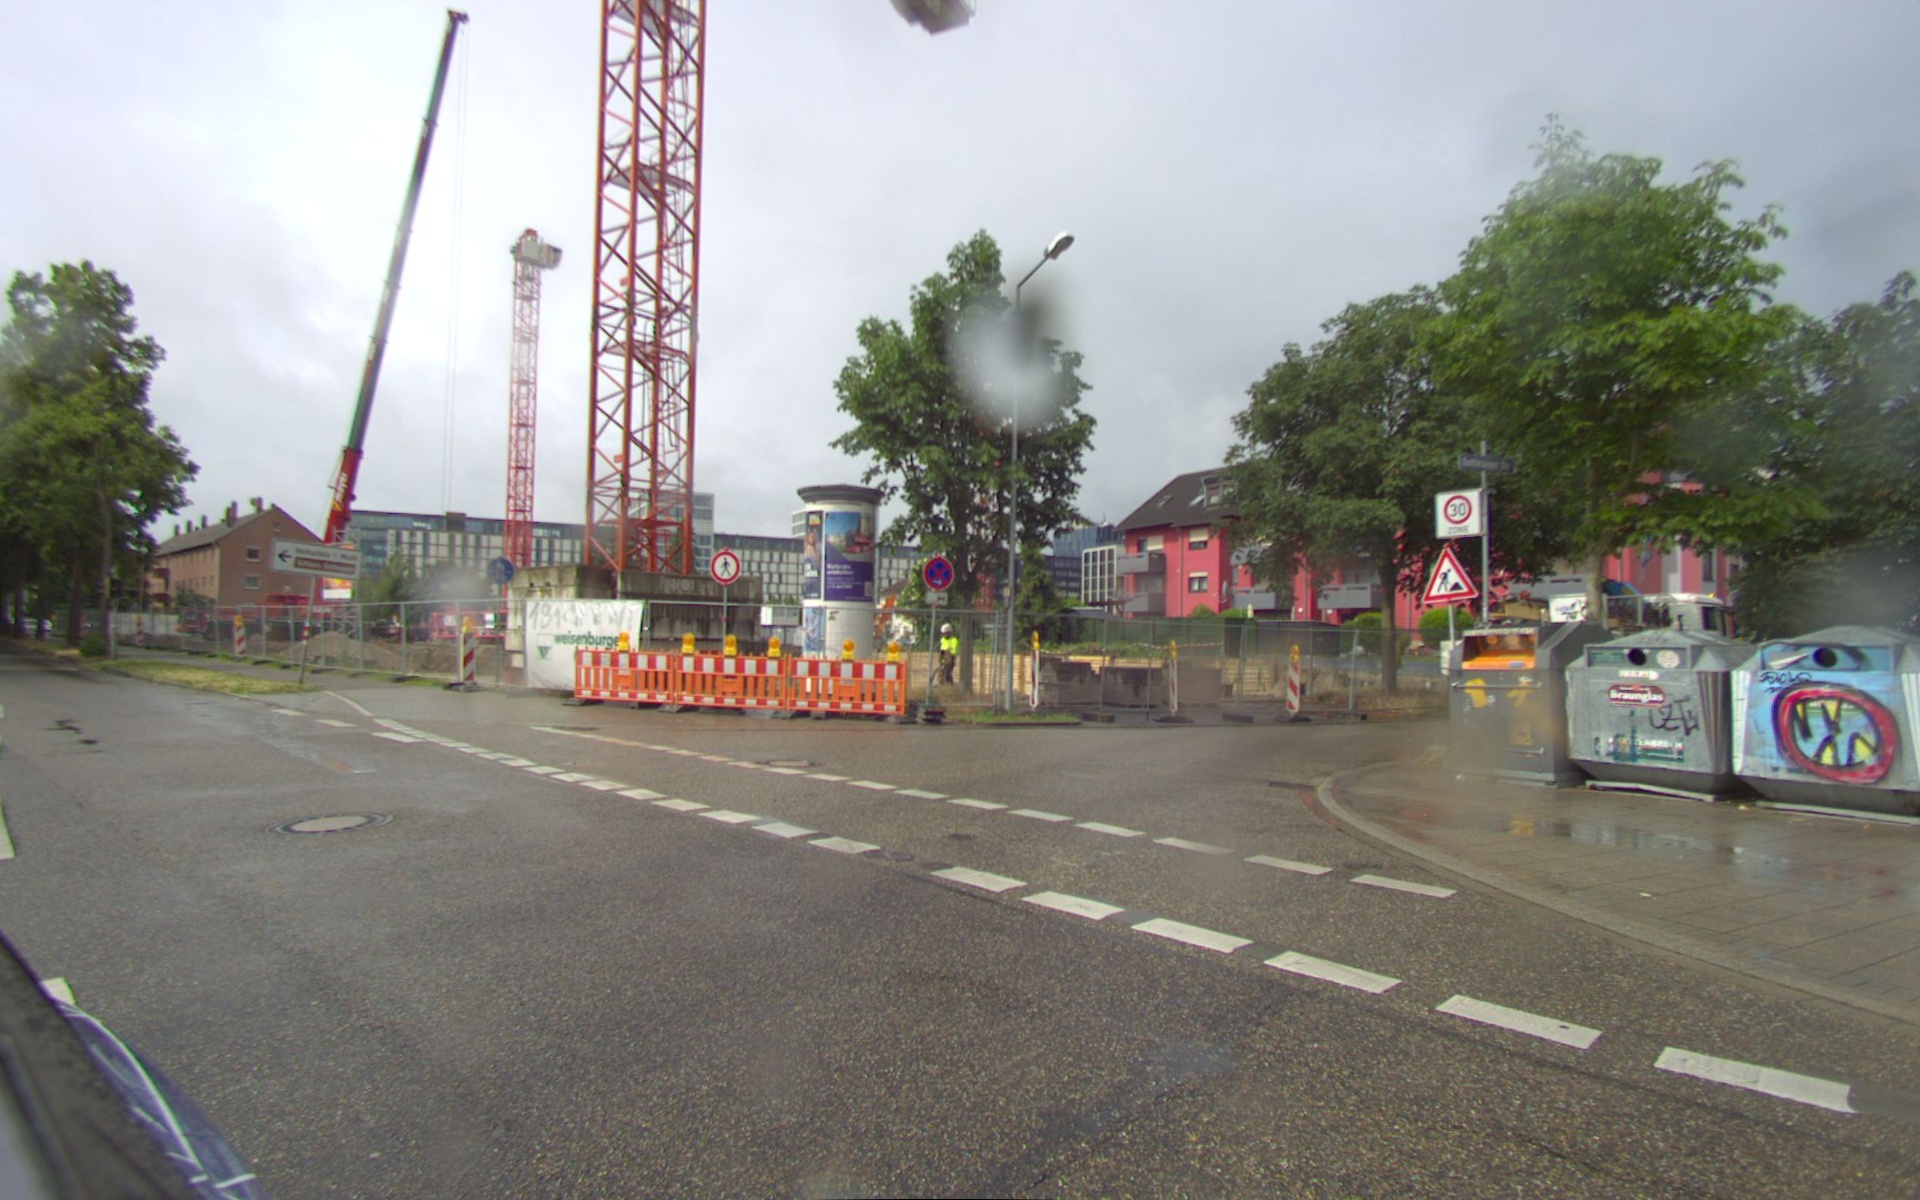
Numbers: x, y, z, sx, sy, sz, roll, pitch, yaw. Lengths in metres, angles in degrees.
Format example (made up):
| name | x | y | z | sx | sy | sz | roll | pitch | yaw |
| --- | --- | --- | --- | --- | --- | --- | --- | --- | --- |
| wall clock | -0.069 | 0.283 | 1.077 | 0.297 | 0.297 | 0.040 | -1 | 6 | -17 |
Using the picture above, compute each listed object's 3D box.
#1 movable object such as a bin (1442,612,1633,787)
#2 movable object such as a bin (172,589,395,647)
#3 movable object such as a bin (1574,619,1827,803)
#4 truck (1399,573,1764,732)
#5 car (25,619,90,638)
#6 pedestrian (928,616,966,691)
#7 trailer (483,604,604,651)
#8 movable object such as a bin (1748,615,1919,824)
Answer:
| name | x | y | z | sx | sy | sz | roll | pitch | yaw |
| --- | --- | --- | --- | --- | --- | --- | --- | --- | --- |
| movable object such as a bin | 6.596 | 1.108 | 11.601 | 1.516 | 1.838 | 1.267 | 3 | -4 | -28 |
| movable object such as a bin | -57.871 | 1.511 | 87.286 | 15.720 | 4.593 | 3.104 | 1 | -1 | -44 |
| movable object such as a bin | 7.479 | 1.075 | 10.286 | 1.516 | 1.669 | 1.532 | 3 | -4 | -28 |
| truck | 15.315 | 1.339 | 24.630 | 9.679 | 3.208 | 3.802 | 3 | -3 | -33 |
| car | -76.983 | 2.418 | 86.389 | 3.805 | 1.564 | 1.703 | 1 | 0 | -28 |
| pedestrian | -0.285 | 1.186 | 22.448 | 0.610 | 1.632 | 0.551 | 3 | -4 | -32 |
| trailer | -32.755 | 2.033 | 79.034 | 14.308 | 3.257 | 2.929 | 0 | 1 | 42 |
| movable object such as a bin | 8.255 | 1.008 | 8.826 | 1.516 | 1.687 | 1.671 | 3 | -4 | -28 |
